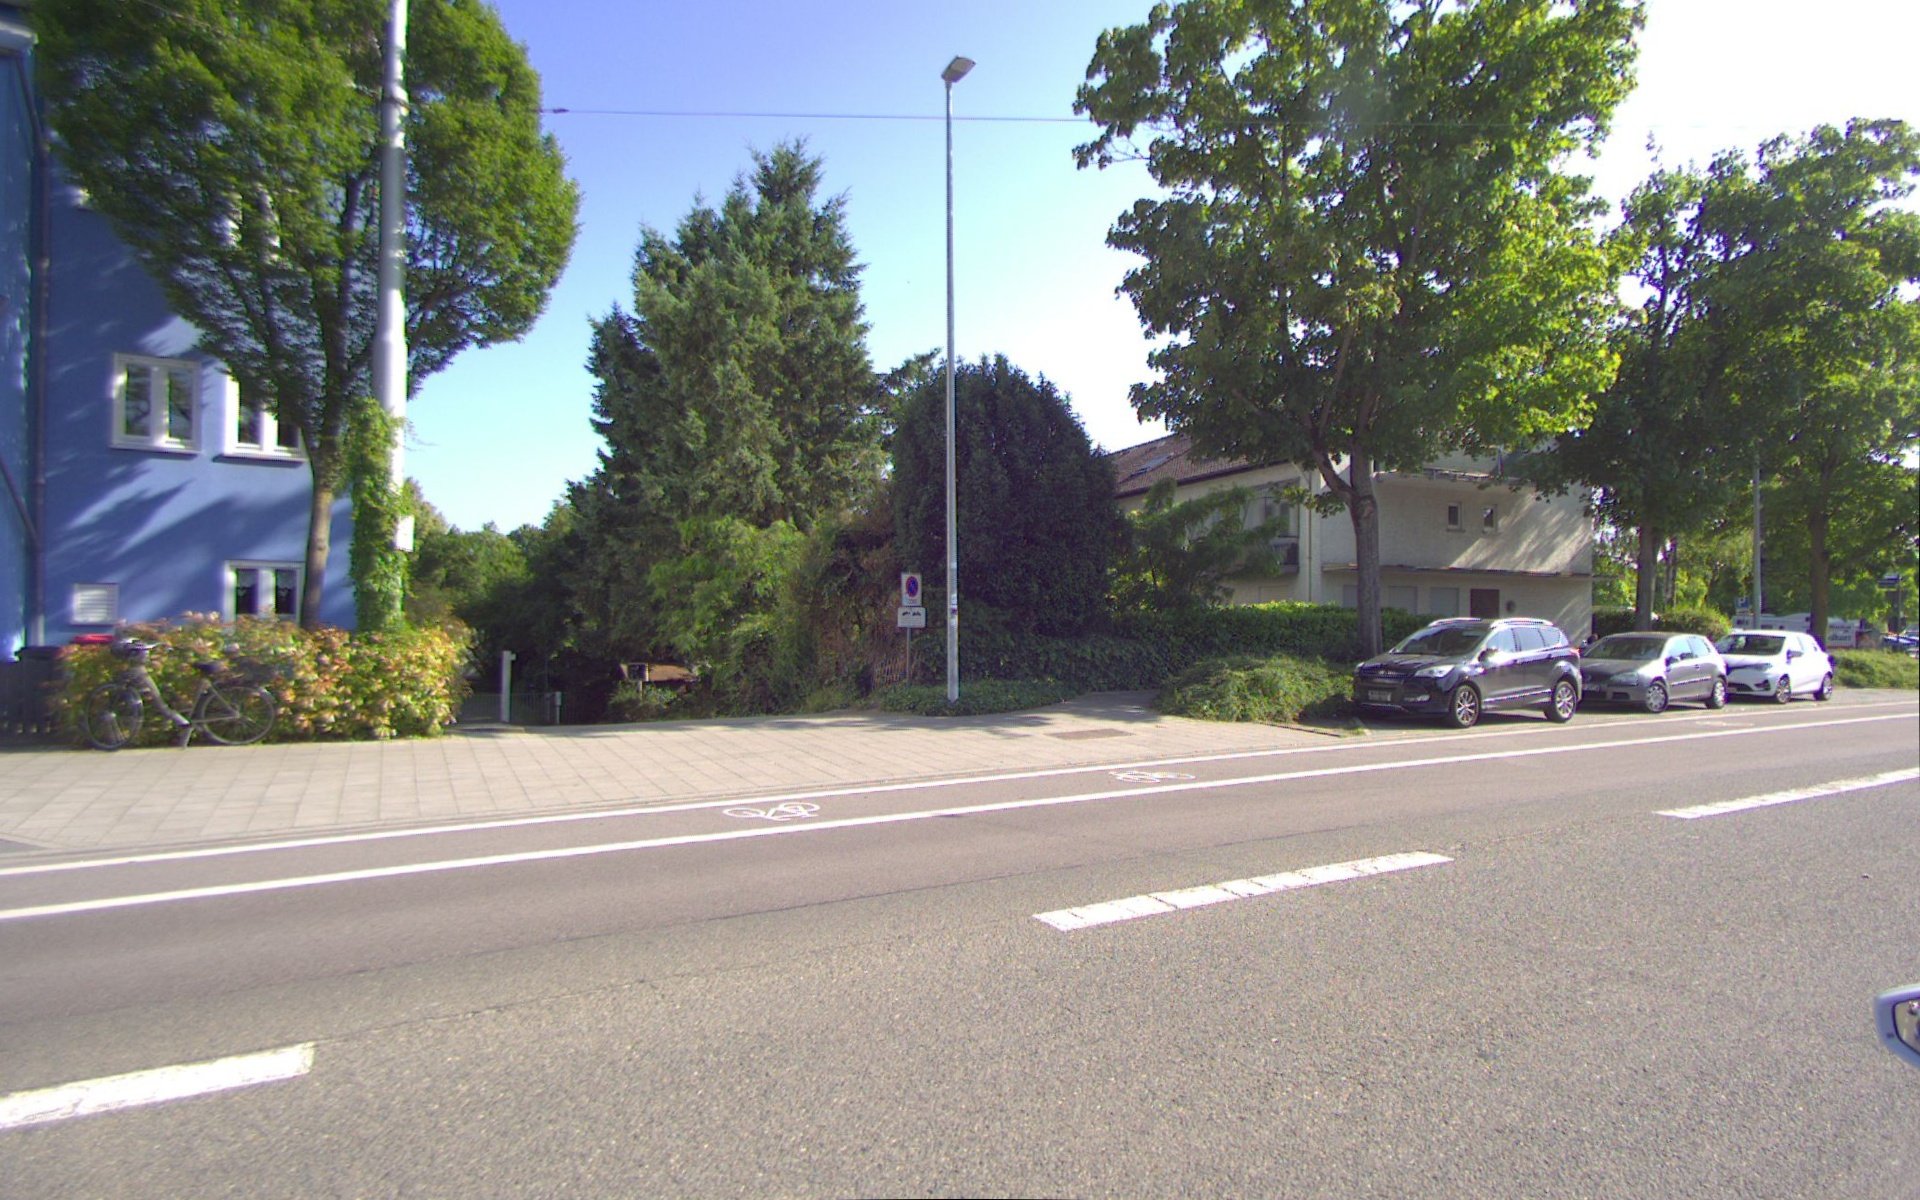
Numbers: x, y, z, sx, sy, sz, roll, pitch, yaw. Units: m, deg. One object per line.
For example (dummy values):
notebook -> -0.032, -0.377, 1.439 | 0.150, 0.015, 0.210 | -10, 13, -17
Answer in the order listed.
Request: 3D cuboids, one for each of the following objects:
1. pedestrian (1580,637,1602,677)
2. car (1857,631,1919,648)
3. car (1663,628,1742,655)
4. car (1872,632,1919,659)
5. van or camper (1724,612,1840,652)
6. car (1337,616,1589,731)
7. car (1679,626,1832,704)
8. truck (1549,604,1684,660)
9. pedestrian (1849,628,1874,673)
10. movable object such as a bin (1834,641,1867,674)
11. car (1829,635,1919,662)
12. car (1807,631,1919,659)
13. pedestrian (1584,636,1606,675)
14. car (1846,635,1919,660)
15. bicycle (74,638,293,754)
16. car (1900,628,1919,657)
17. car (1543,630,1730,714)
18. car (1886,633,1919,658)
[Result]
pedestrian -> 18.521, 1.665, 29.489 | 0.440, 1.177, 0.345 | 1, -1, -22
car -> 79.559, 3.353, 85.910 | 1.718, 1.416, 3.965 | 1, -2, -32
car -> 49.895, 2.789, 67.571 | 1.611, 1.751, 3.959 | 1, -2, -36
car -> 53.161, 2.517, 55.379 | 1.718, 1.416, 3.965 | 1, -2, -32
van or camper -> 62.141, 2.381, 76.082 | 2.279, 2.906, 6.437 | 1, -1, -28
car -> 8.493, 1.152, 16.862 | 4.369, 1.716, 1.666 | 1, -1, -30
car -> 18.061, 1.419, 22.775 | 3.853, 1.571, 1.591 | 1, 0, -34
truck -> 41.020, 1.981, 63.007 | 1.965, 3.285, 6.927 | 1, -2, -31
pedestrian -> 33.816, 1.890, 37.684 | 0.602, 1.649, 0.522 | 1, -1, -30
movable object such as a bin -> 33.011, 2.121, 37.221 | 1.246, 1.161, 0.539 | 1, -1, -30
car -> 48.426, 2.500, 52.714 | 1.718, 1.324, 3.965 | 1, -2, -32
car -> 46.191, 2.289, 51.470 | 1.718, 1.324, 3.965 | 1, -2, -32
pedestrian -> 20.393, 1.771, 32.251 | 0.385, 1.233, 0.444 | 1, -1, -22
car -> 51.050, 2.570, 54.677 | 1.718, 1.324, 3.965 | 1, -2, -32
bicycle -> -8.247, 1.010, 10.744 | 1.759, 1.169, 0.442 | 2, -1, -24
car -> 57.732, 2.498, 58.051 | 2.026, 1.673, 4.594 | 1, -2, -31
car -> 13.428, 1.359, 19.888 | 3.925, 1.488, 1.668 | 1, -1, -32
car -> 55.558, 2.579, 57.104 | 1.718, 1.416, 3.965 | 1, -2, -32
